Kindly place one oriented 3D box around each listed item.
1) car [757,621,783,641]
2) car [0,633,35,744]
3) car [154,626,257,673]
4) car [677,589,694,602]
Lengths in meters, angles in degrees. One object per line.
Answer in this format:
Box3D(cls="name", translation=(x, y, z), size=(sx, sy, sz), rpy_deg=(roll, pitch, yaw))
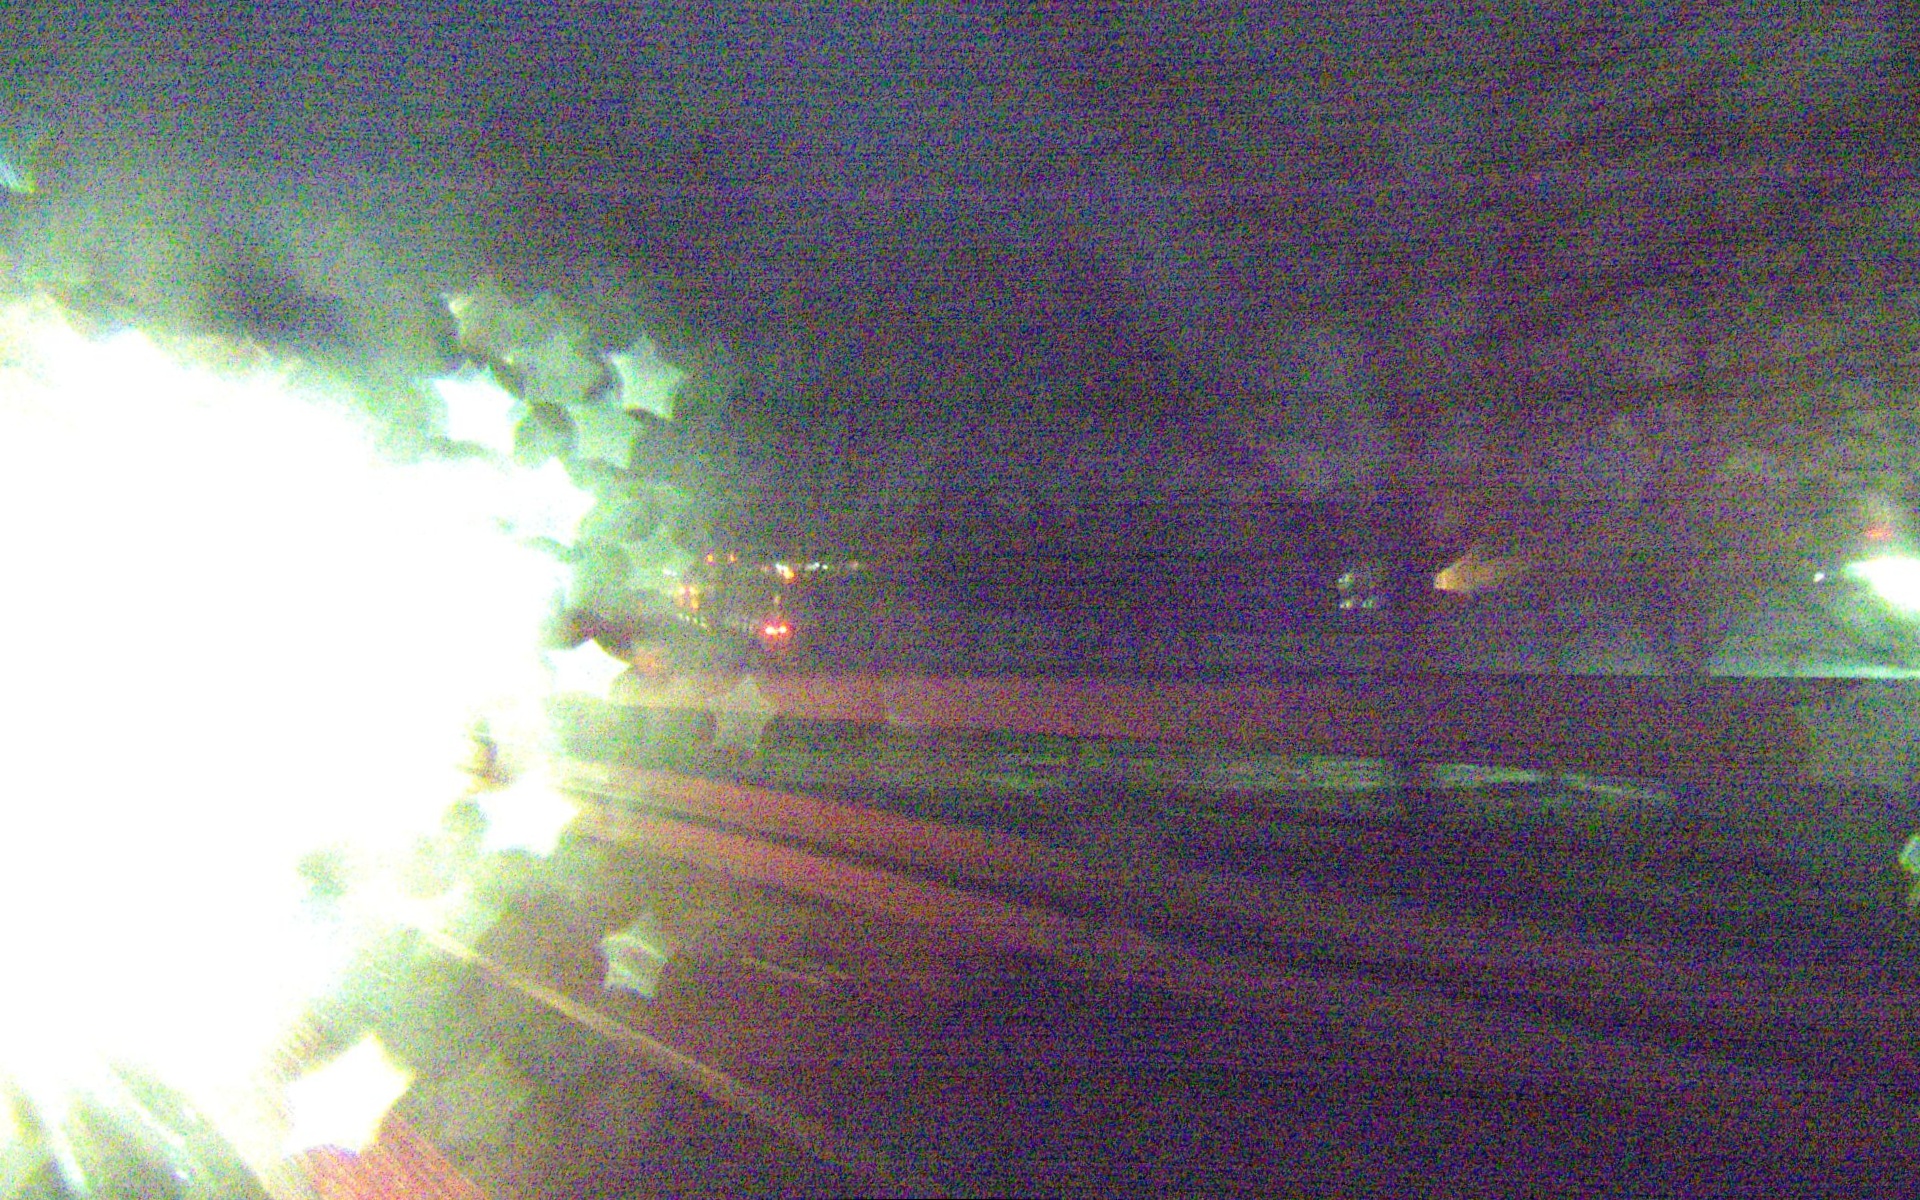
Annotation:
Box3D(cls="car", translation=(-15.524, 2.491, 82.472), size=(1.479, 1.438, 3.442), rpy_deg=(1, 1, -20))
Box3D(cls="car", translation=(-13.666, 1.192, 13.299), size=(1.660, 1.462, 3.652), rpy_deg=(1, -1, -34))
Box3D(cls="car", translation=(-23.260, 1.503, 31.346), size=(1.731, 1.322, 4.099), rpy_deg=(2, -1, -25))
Box3D(cls="car", translation=(-34.933, -0.584, 128.721), size=(1.716, 1.436, 4.114), rpy_deg=(-2, 4, -19))
